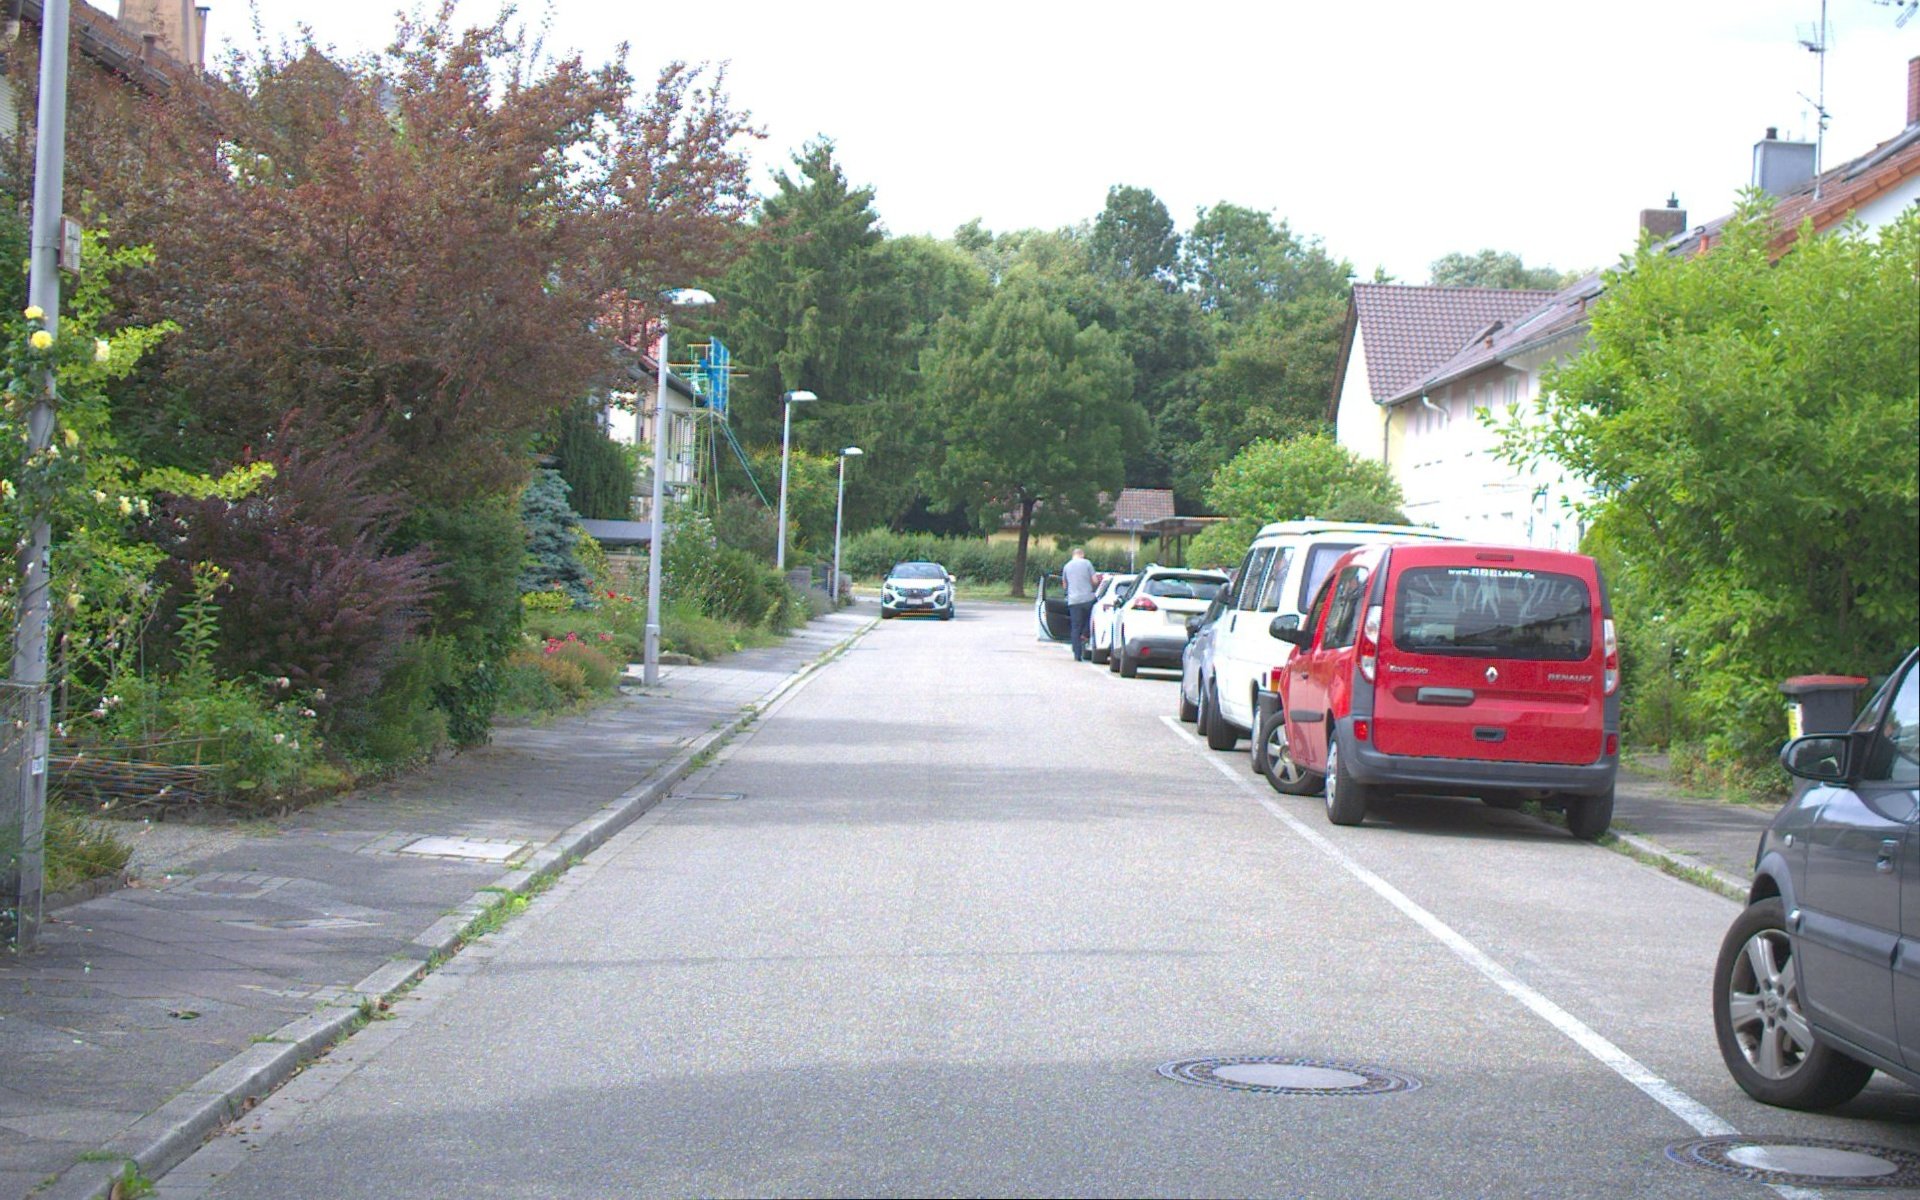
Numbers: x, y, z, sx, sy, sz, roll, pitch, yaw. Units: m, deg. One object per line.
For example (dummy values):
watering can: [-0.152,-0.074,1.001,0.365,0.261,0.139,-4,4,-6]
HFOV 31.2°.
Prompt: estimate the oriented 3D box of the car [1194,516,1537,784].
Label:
car: [3.183,0.334,27.966,2.020,1.940,4.748,2,1,-2]

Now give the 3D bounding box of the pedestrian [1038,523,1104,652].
pedestrian: [1.772,-0.206,54.963,0.912,2.007,0.951,2,1,-3]

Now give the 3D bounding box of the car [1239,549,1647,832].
car: [3.100,0.517,22.968,1.810,1.645,4.411,2,1,-3]

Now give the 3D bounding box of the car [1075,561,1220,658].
car: [2.958,0.127,55.175,1.838,1.408,4.637,2,1,-3]

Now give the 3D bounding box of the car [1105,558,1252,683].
car: [2.990,0.252,47.733,1.714,1.538,3.973,4,1,0]

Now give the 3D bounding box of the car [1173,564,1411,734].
car: [3.121,0.422,33.072,1.900,1.454,4.129,2,1,1]

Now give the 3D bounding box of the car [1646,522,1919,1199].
car: [3.233,0.663,8.796,1.867,1.648,4.465,2,1,-2]

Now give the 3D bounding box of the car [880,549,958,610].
car: [-1.084,-0.571,92.471,1.934,1.551,4.634,2,1,1]
